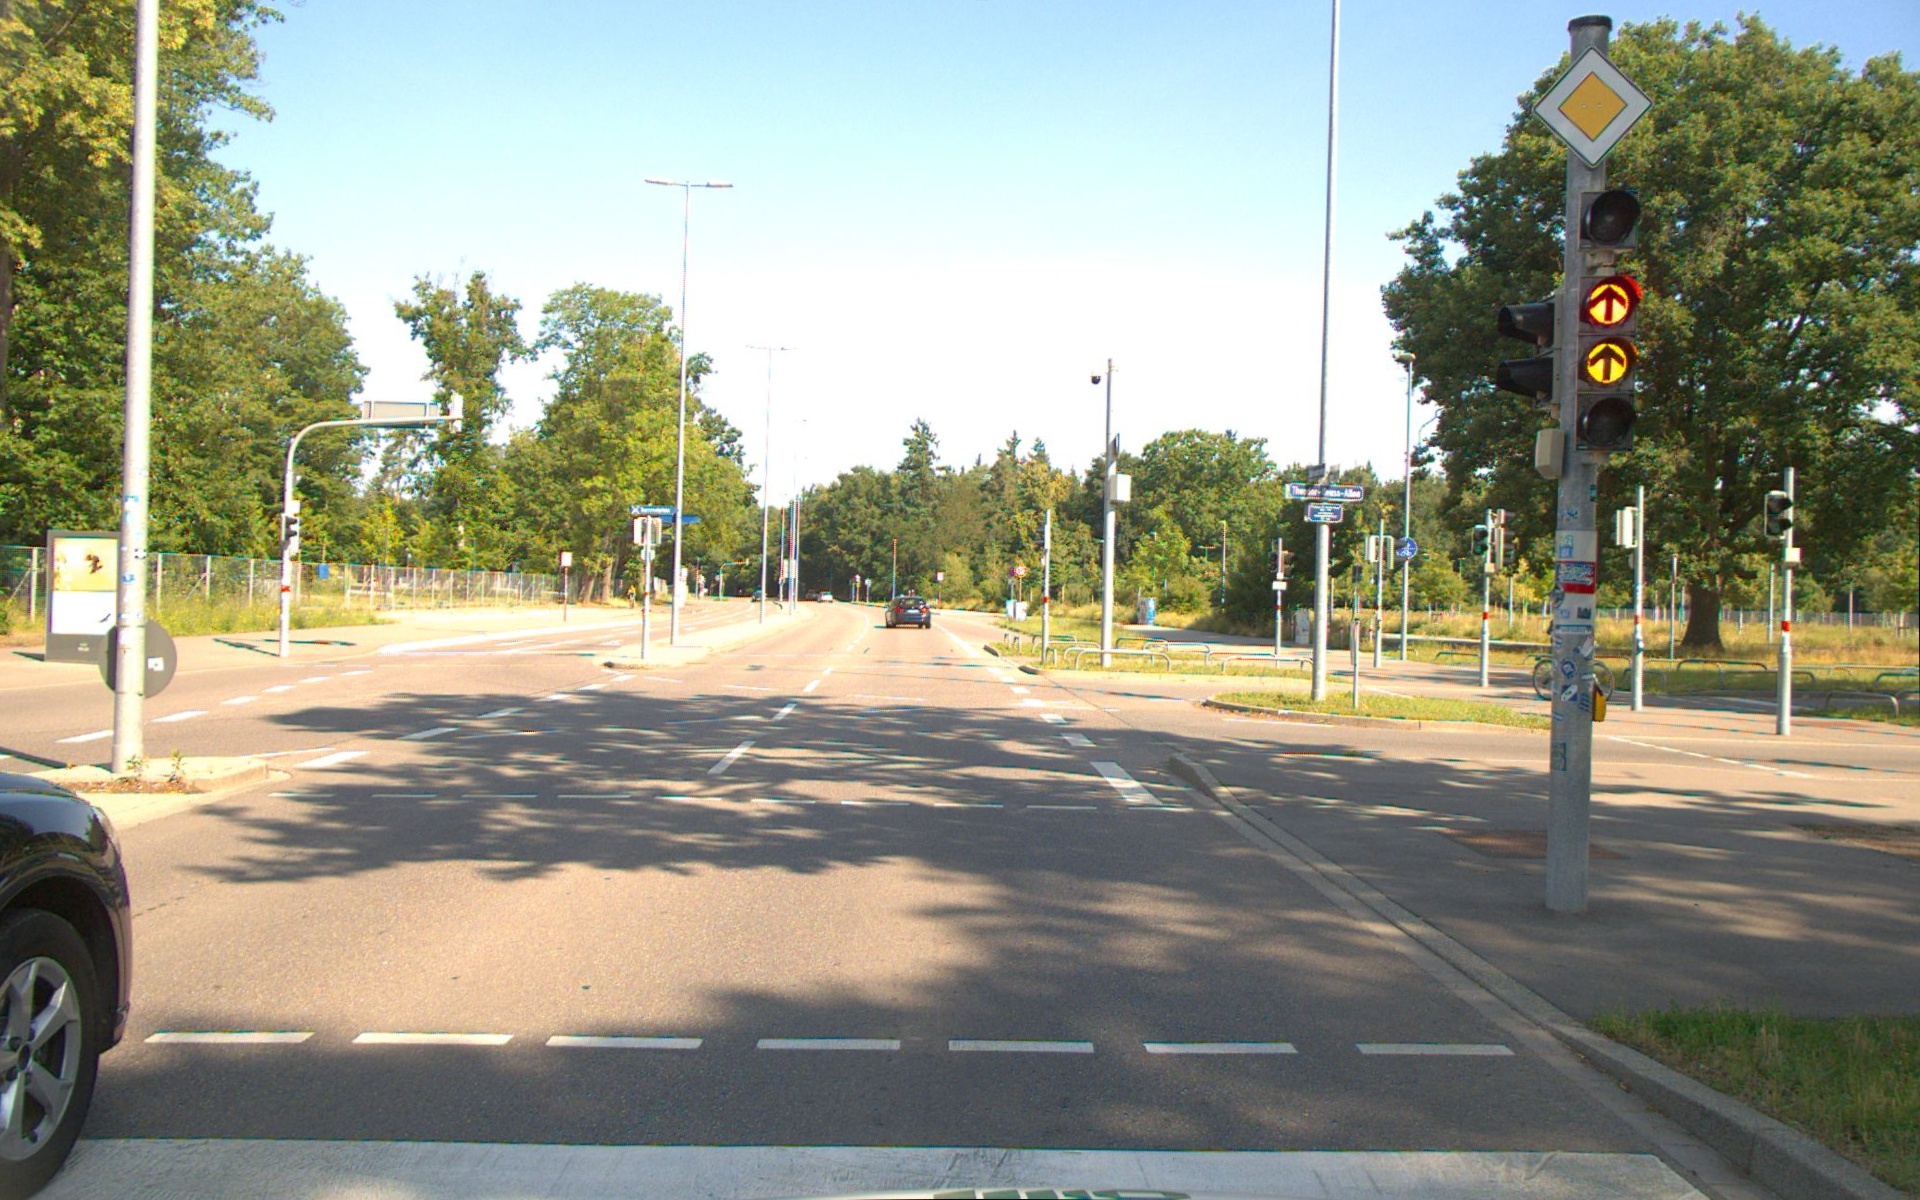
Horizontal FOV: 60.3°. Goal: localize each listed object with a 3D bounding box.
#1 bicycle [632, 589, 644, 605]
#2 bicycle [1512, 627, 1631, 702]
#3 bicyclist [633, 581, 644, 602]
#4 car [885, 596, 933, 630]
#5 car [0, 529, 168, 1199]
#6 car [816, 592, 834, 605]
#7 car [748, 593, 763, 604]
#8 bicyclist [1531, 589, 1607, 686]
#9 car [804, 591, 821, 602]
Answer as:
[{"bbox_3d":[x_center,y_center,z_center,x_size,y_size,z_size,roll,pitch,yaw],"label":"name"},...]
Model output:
[{"bbox_3d":[-22.899,-0.214,117.648,0.647,1.155,1.876,3,0,-5],"label":"bicycle"},{"bbox_3d":[10.720,1.109,29.080,0.714,1.220,2.086,1,0,-23],"label":"bicycle"},{"bbox_3d":[-22.857,-0.596,117.603,0.647,1.493,1.056,3,0,-6],"label":"bicyclist"},{"bbox_3d":[-2.329,0.569,74.516,1.903,1.445,4.288,1,0,-5],"label":"car"},{"bbox_3d":[-2.957,0.630,2.408,1.653,1.571,4.148,0,0,-1],"label":"car"},{"bbox_3d":[-18.720,-0.170,228.666,1.959,1.780,3.987,1,0,-13],"label":"car"},{"bbox_3d":[-27.778,-0.223,224.524,1.779,1.412,4.149,-1,0,-12],"label":"car"},{"bbox_3d":[10.717,0.651,29.115,0.714,1.667,1.050,1,0,-24],"label":"bicyclist"},{"bbox_3d":[-22.115,-0.519,248.016,1.959,1.624,3.988,1,0,-12],"label":"car"}]
